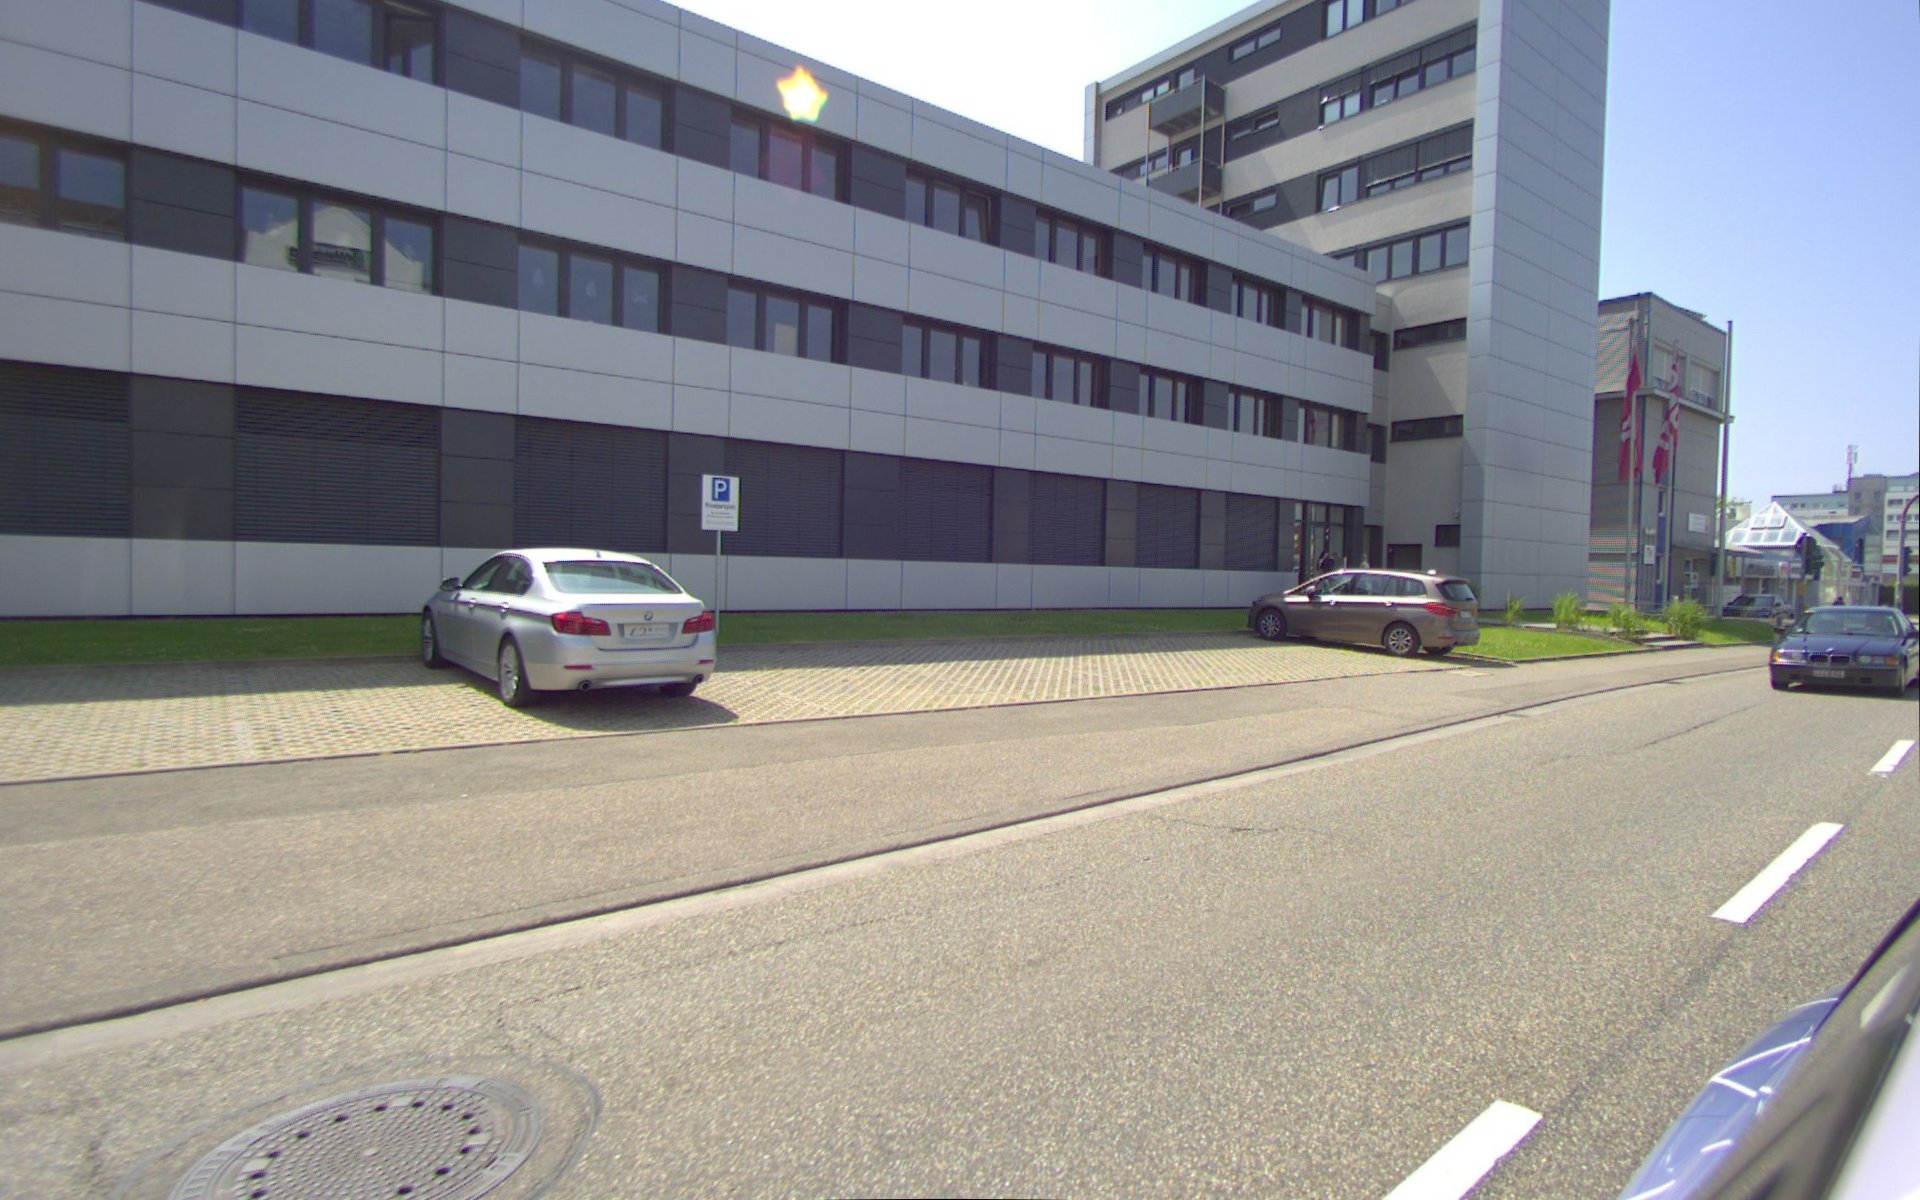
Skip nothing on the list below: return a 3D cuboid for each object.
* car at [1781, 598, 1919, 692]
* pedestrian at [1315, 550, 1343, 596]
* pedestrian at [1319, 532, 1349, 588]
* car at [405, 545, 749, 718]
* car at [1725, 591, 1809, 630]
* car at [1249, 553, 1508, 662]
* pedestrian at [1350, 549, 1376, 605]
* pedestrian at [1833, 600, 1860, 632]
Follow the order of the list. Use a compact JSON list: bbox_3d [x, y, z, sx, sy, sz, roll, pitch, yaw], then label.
[{"bbox_3d":[14.876,0.667,16.766,1.628,1.356,3.696,1,0,45],"label":"car"},{"bbox_3d":[11.576,-0.844,31.715,0.521,1.422,0.787,3,2,42],"label":"pedestrian"},{"bbox_3d":[11.281,-1.215,30.496,0.512,1.654,0.596,1,2,-29],"label":"pedestrian"},{"bbox_3d":[-4.316,0.174,10.916,1.965,1.407,4.622,0,3,-41],"label":"car"},{"bbox_3d":[34.164,0.427,42.800,4.119,1.550,1.849,0,0,-37],"label":"car"},{"bbox_3d":[8.213,0.054,20.184,1.965,1.709,4.269,0,5,-41],"label":"car"},{"bbox_3d":[12.358,-0.716,31.011,0.520,1.683,0.747,3,2,35],"label":"pedestrian"},{"bbox_3d":[47.267,0.846,53.962,0.836,1.647,0.813,0,2,-34],"label":"pedestrian"}]
